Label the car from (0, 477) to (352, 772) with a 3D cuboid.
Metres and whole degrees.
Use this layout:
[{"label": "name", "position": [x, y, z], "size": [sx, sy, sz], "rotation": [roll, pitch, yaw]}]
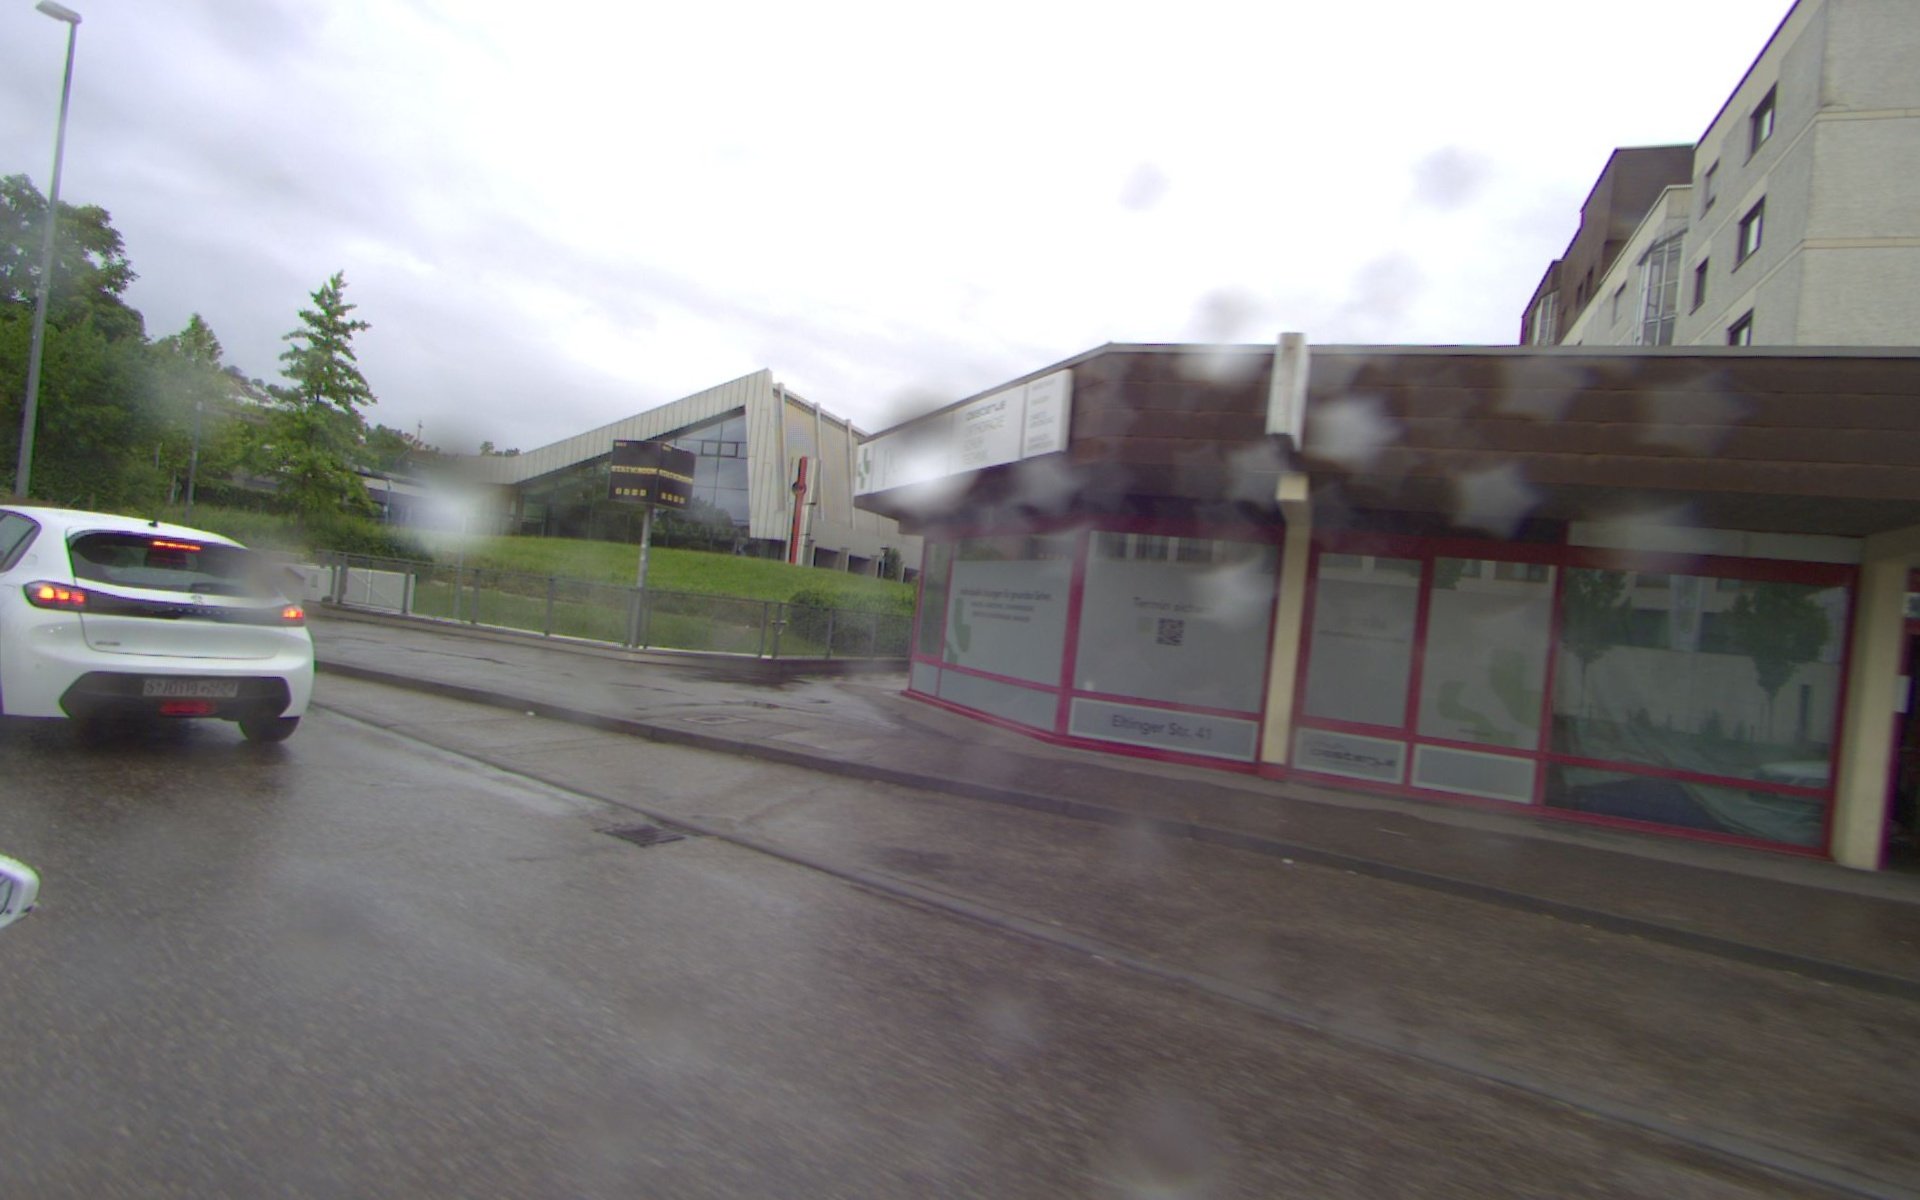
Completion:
[{"label": "car", "position": [-6.332, 0.000, 7.209], "size": [3.867, 1.537, 1.693], "rotation": [9, 0, 32]}]
